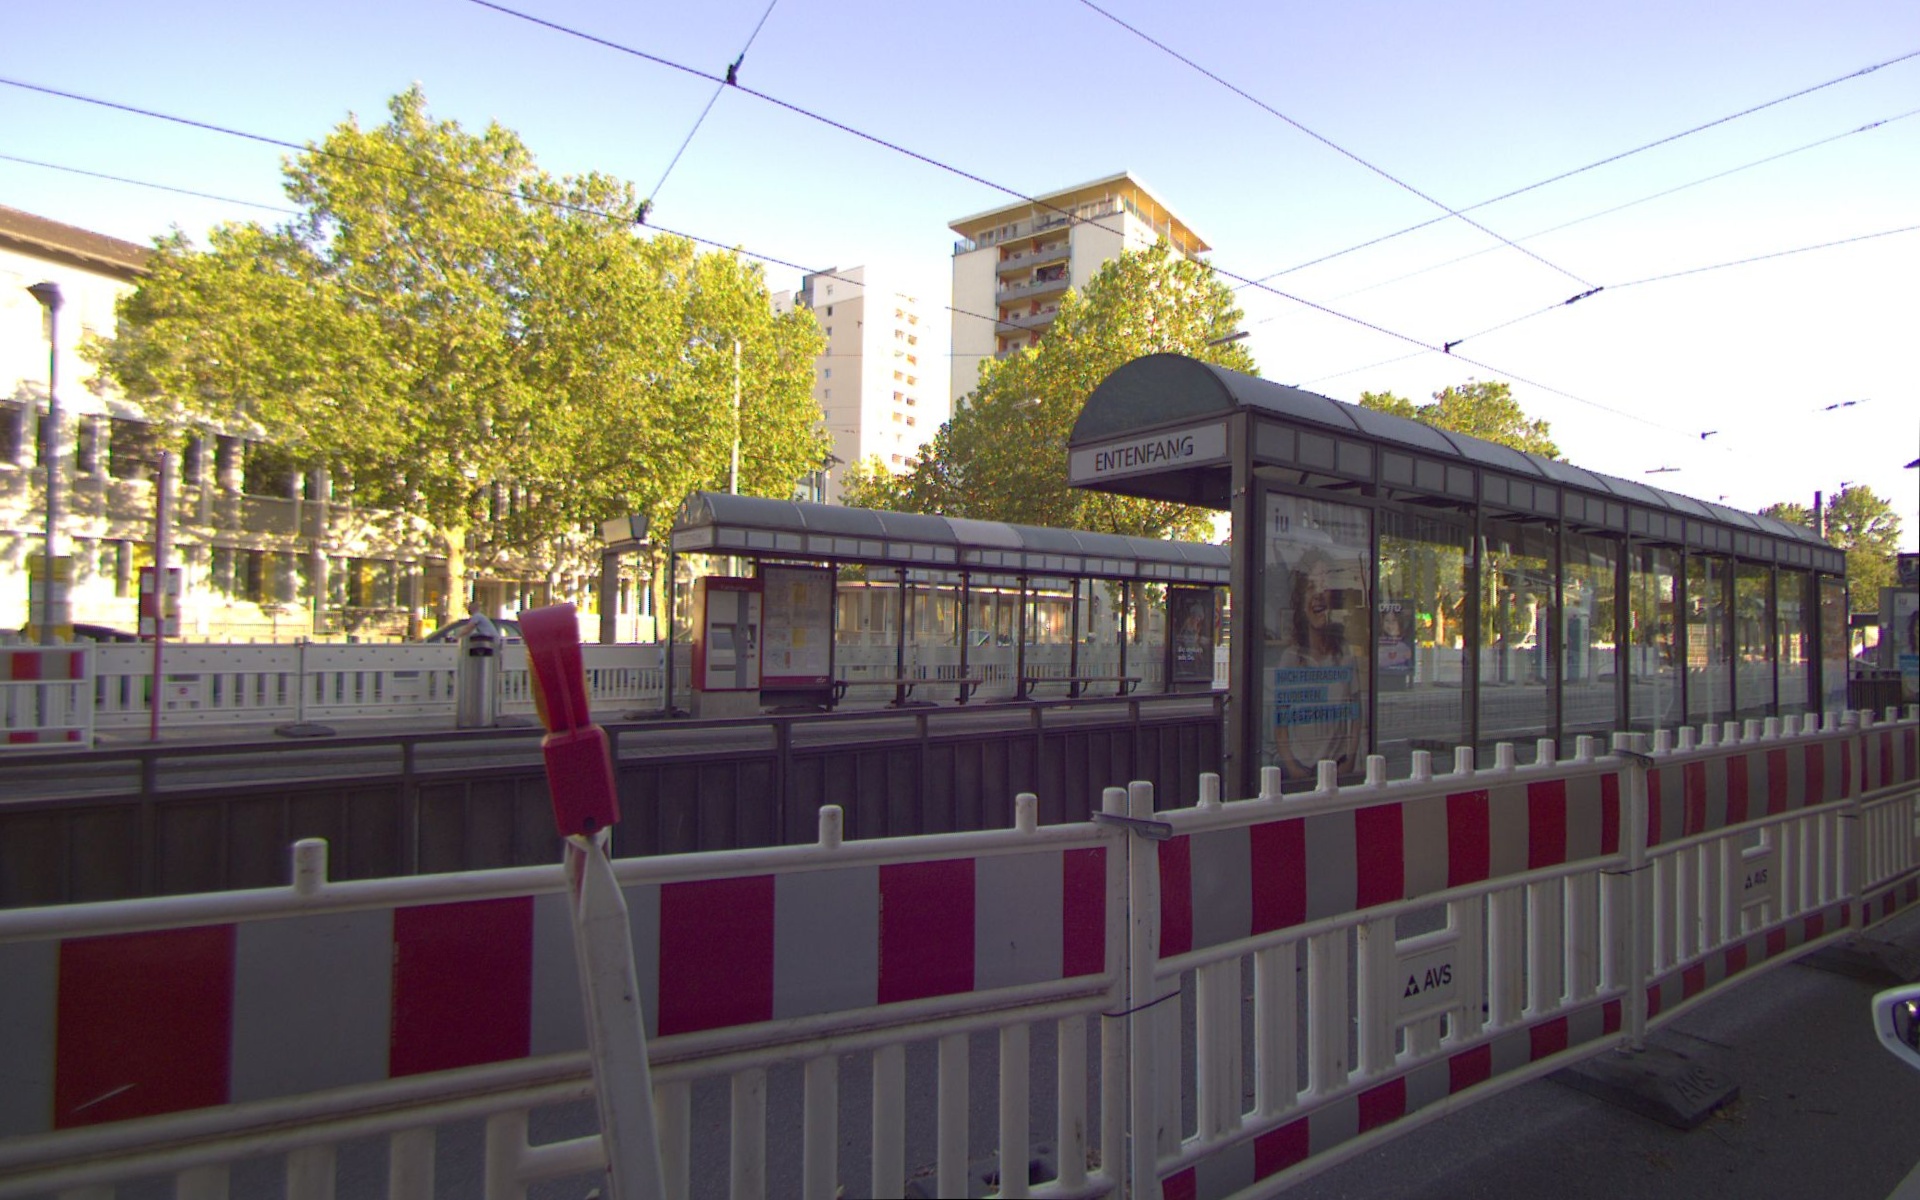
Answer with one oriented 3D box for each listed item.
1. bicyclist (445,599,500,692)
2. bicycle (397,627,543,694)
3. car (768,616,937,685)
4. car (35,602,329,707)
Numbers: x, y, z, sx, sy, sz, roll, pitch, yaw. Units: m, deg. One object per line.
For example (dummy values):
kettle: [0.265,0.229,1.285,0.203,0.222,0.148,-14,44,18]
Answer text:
bicyclist: [-9.492,0.880,19.552,0.826,1.751,0.728,2,-2,-35]
bicycle: [-9.502,1.166,19.534,2.456,1.223,0.685,2,-2,-36]
car: [-2.780,1.309,26.260,3.959,1.683,1.902,2,-2,-34]
car: [-13.771,0.958,18.140,3.958,1.683,1.982,2,-2,-33]
